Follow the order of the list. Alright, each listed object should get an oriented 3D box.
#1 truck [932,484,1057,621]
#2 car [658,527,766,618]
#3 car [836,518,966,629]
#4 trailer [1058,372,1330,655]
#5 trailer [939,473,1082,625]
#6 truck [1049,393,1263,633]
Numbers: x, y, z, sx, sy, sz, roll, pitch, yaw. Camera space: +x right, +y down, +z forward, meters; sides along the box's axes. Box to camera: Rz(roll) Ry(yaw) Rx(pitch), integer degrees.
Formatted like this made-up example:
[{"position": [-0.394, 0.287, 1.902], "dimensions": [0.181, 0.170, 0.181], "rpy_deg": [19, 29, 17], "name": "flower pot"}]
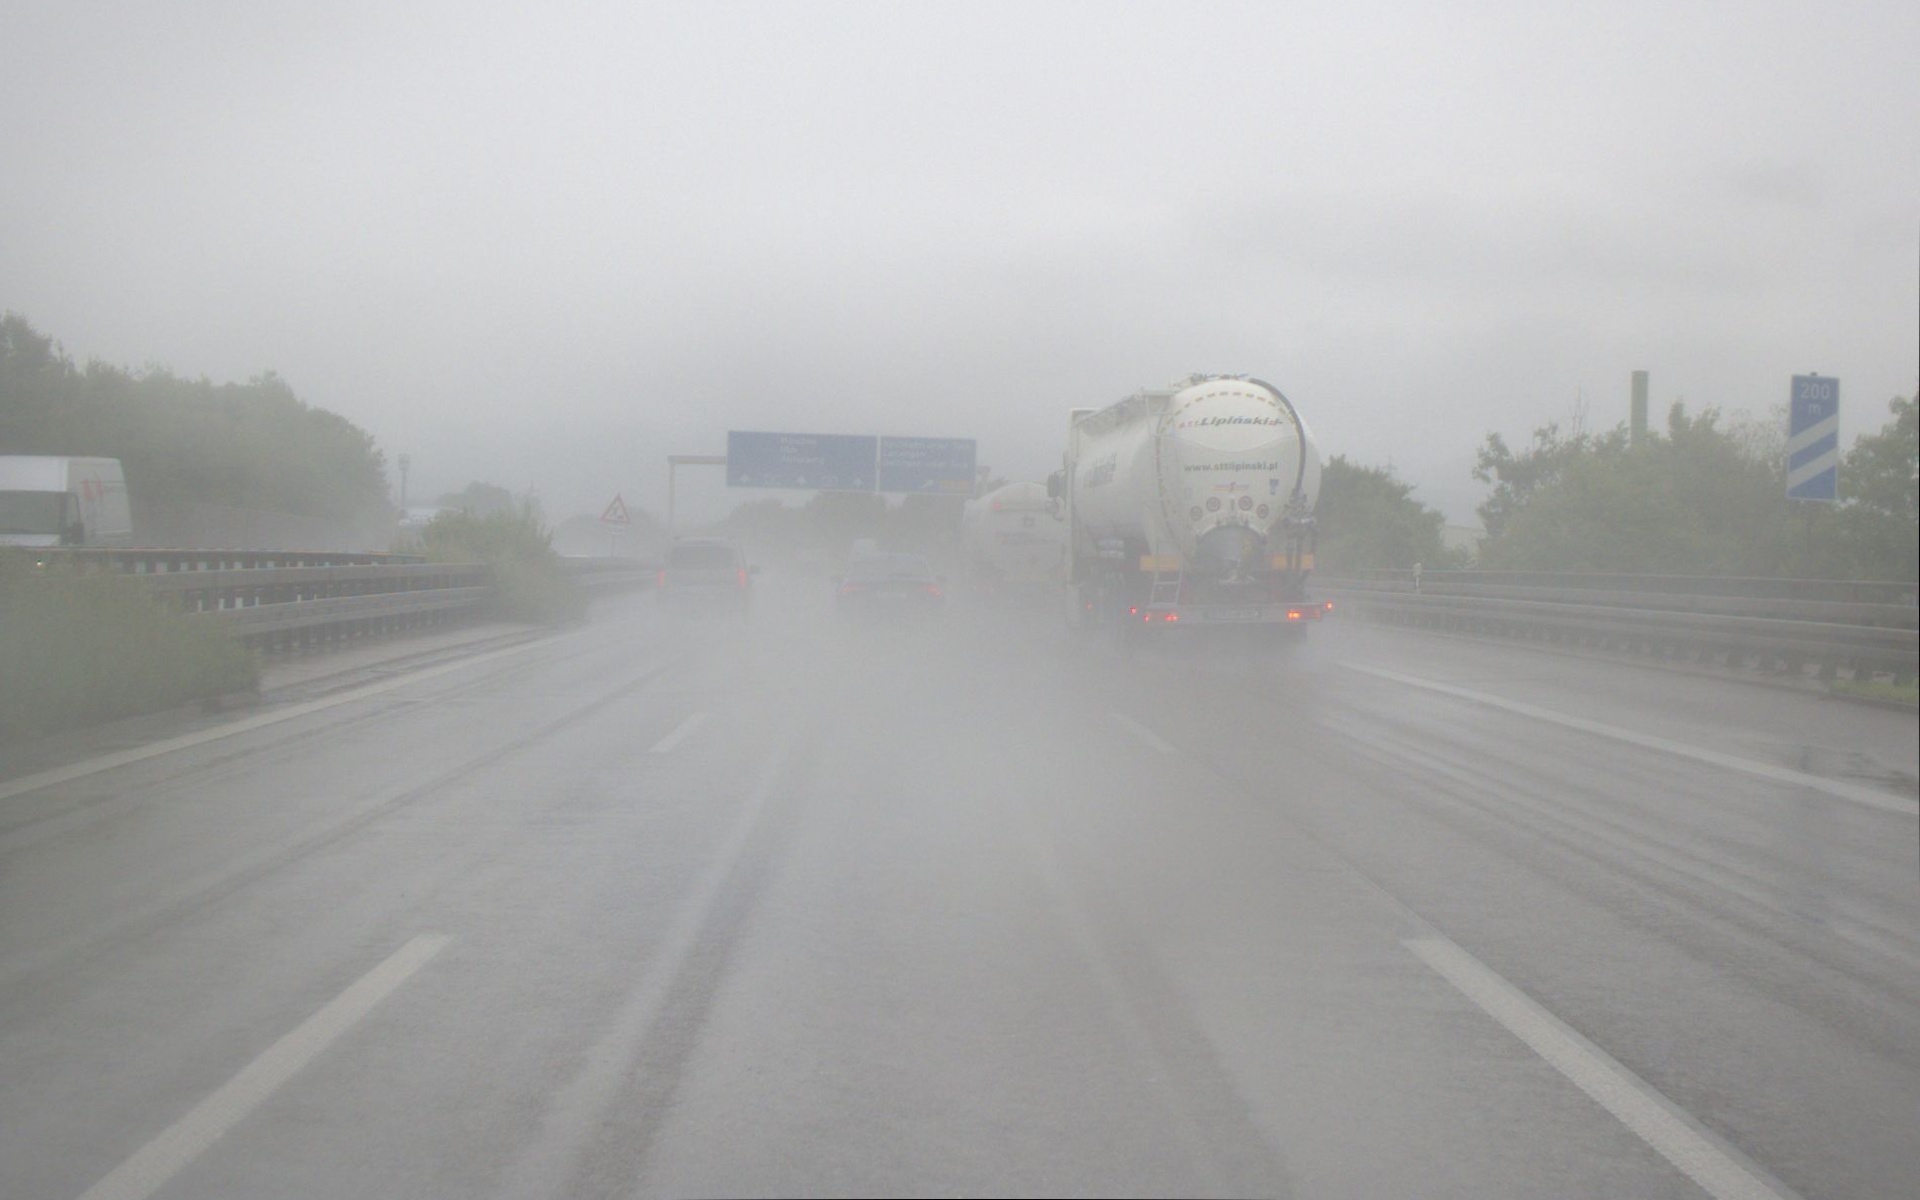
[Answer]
[{"position": [0.907, -1.341, 95.851], "dimensions": [2.943, 3.671, 6.362], "rpy_deg": [0, 1, -4], "name": "truck"}, {"position": [-4.909, -0.578, 68.494], "dimensions": [1.925, 1.735, 4.404], "rpy_deg": [1, 1, -1], "name": "car"}, {"position": [-0.935, -0.471, 57.022], "dimensions": [1.978, 1.750, 4.481], "rpy_deg": [0, 1, 1], "name": "car"}, {"position": [3.209, -1.223, 50.490], "dimensions": [3.188, 3.657, 11.667], "rpy_deg": [0, 1, 0], "name": "trailer"}, {"position": [1.268, -1.379, 91.871], "dimensions": [3.004, 3.834, 8.625], "rpy_deg": [1, 1, -4], "name": "trailer"}, {"position": [3.214, -1.443, 58.251], "dimensions": [3.104, 3.793, 7.213], "rpy_deg": [0, 1, -1], "name": "truck"}]
